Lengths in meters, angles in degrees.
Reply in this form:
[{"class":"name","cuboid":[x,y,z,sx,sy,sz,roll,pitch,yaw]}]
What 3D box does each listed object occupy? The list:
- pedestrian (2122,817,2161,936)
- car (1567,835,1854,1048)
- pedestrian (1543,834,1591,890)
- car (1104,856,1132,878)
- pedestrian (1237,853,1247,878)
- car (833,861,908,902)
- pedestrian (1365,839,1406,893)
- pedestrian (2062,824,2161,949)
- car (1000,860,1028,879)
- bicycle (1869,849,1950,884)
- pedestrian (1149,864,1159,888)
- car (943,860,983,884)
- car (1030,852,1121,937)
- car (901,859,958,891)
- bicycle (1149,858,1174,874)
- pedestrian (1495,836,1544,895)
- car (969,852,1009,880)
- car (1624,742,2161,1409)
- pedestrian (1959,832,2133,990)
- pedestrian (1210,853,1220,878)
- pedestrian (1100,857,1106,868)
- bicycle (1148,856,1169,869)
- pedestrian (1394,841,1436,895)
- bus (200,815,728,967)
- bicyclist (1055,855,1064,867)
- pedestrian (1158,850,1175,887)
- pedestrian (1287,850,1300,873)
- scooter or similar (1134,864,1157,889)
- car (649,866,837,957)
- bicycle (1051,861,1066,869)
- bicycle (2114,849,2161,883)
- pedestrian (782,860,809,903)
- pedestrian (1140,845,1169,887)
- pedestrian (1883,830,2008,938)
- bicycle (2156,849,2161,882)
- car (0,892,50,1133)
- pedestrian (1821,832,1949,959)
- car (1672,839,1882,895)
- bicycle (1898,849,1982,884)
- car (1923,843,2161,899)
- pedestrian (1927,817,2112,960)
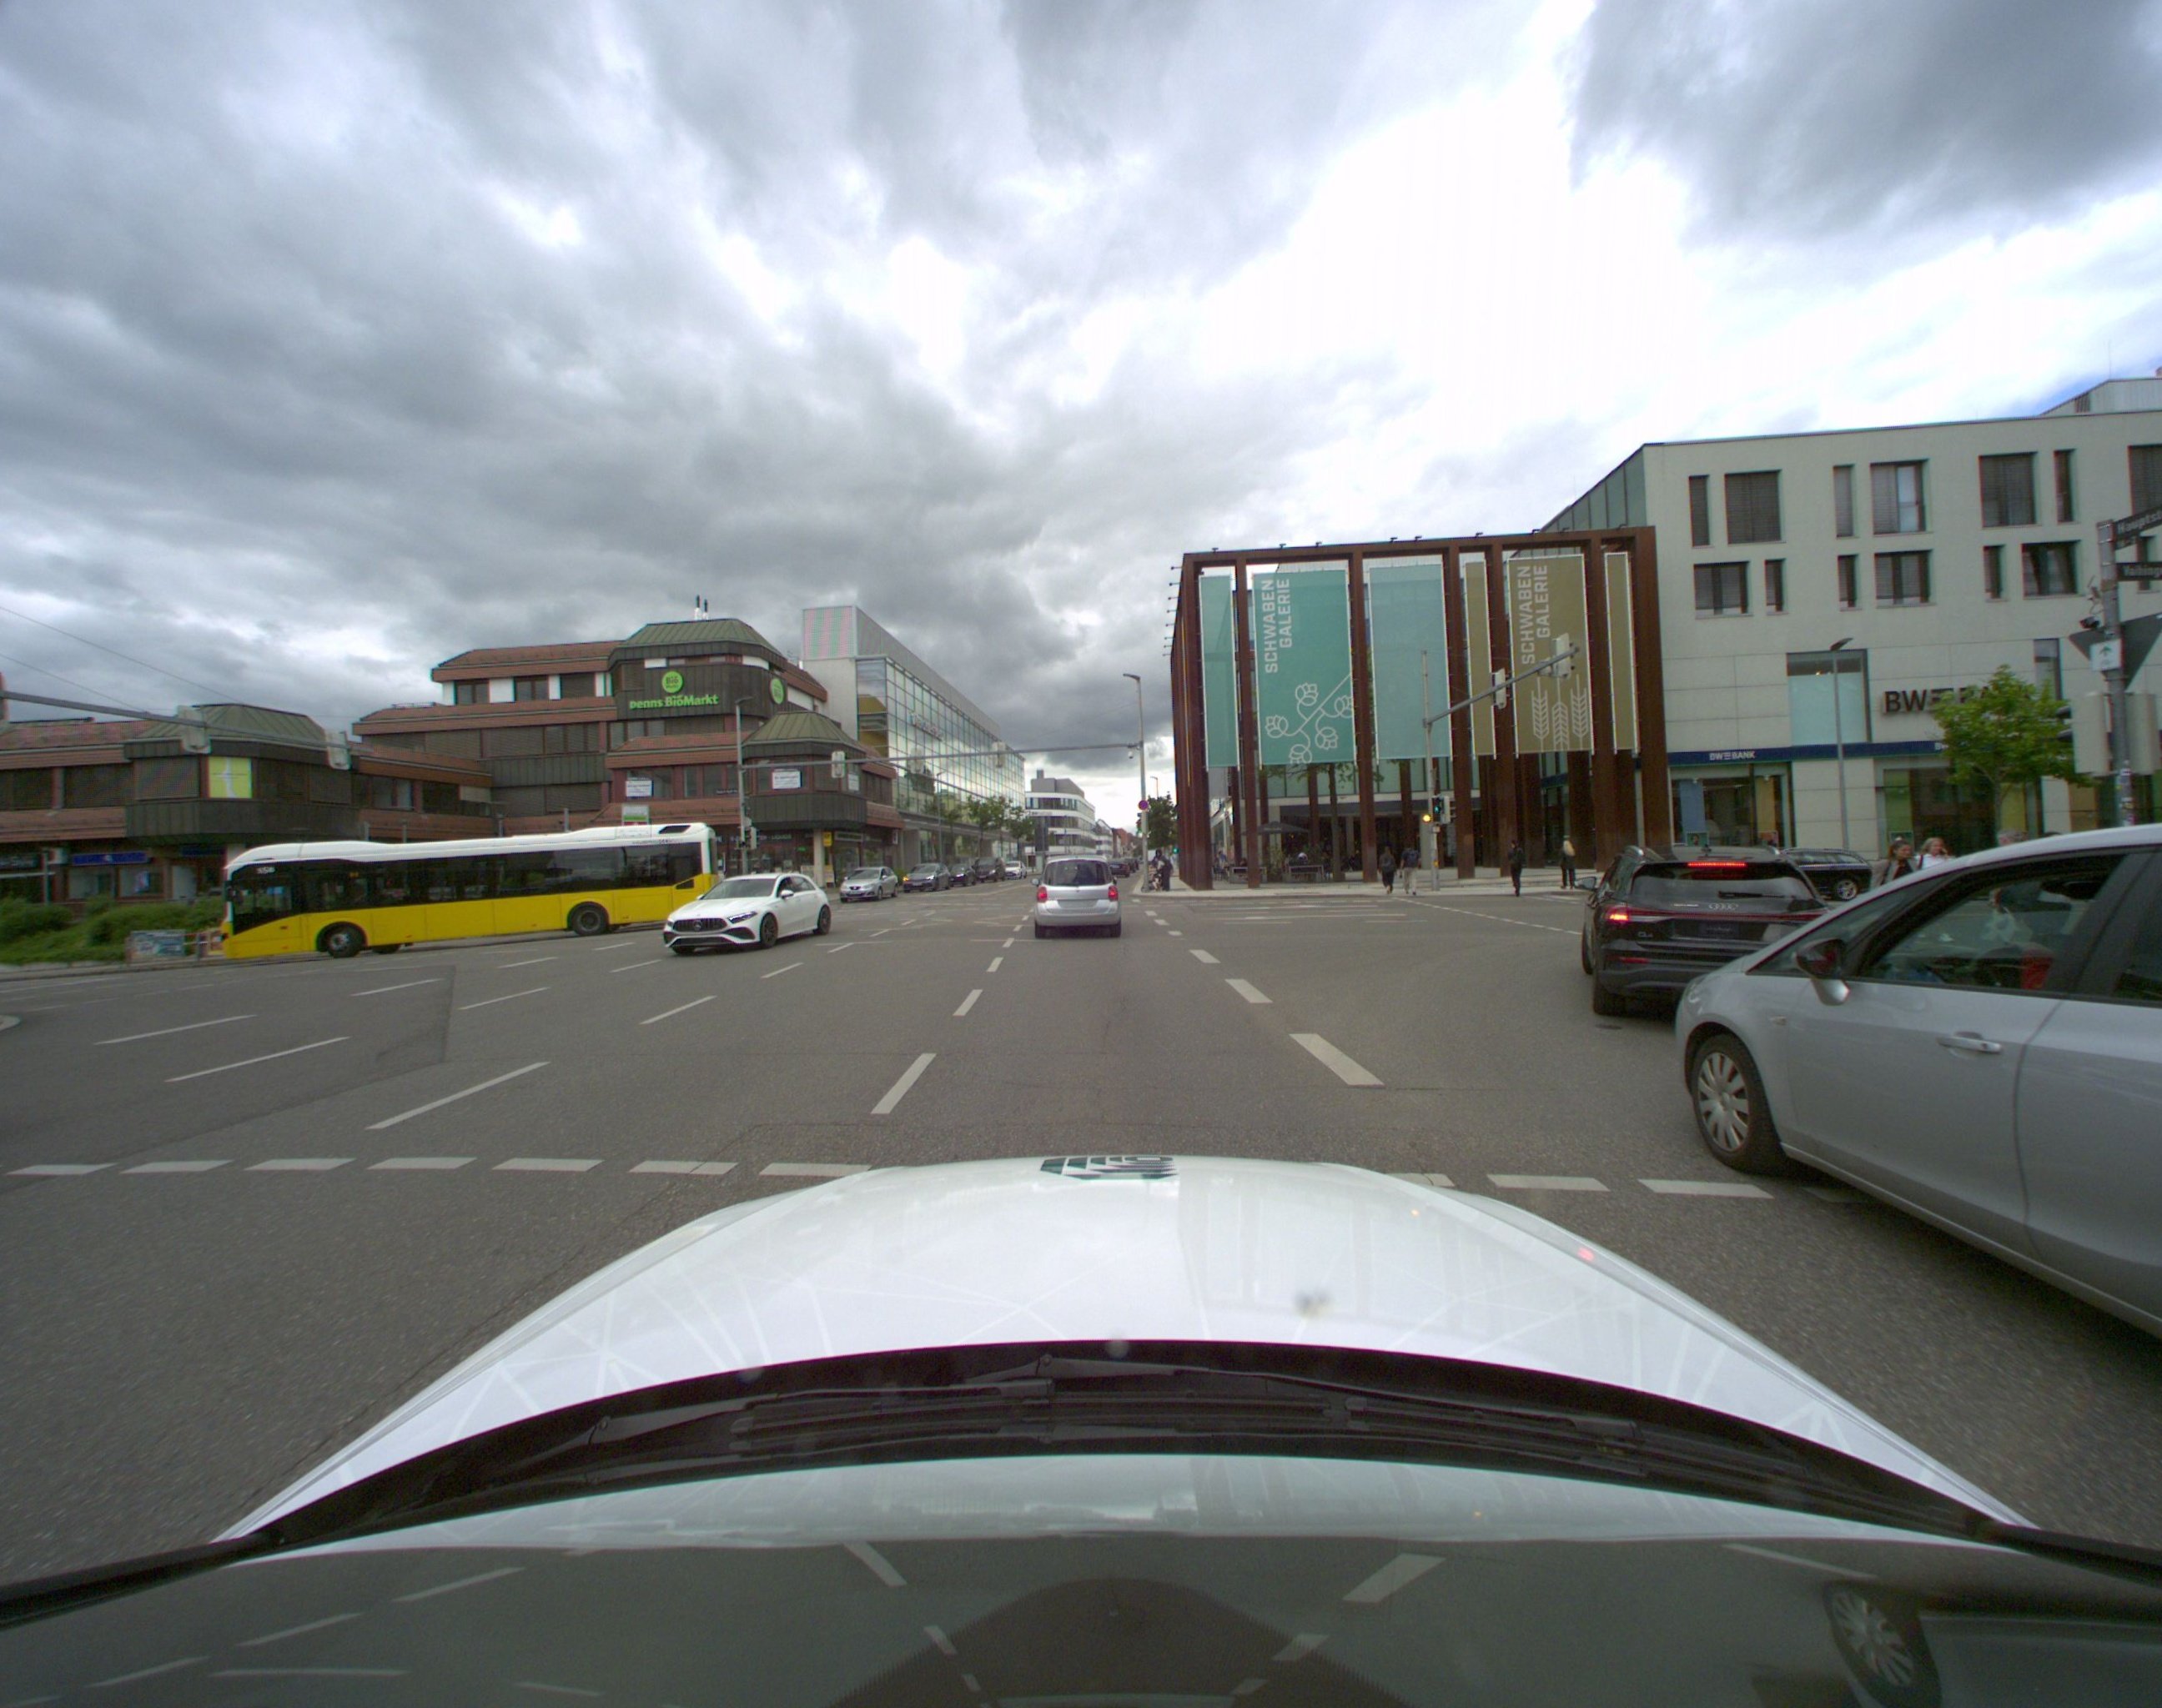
[{"class":"pedestrian","cuboid":[14.733,0.289,10.659,0.827,1.584,1.059,-2,0,0]},{"class":"car","cuboid":[6.277,0.649,8.704,1.833,1.609,4.892,0,0,31]},{"class":"pedestrian","cuboid":[15.915,0.266,26.689,0.875,1.767,1.121,-2,0,2]},{"class":"car","cuboid":[2.756,0.899,59.910,1.660,1.554,3.650,0,0,8]},{"class":"pedestrian","cuboid":[7.991,0.566,40.441,0.445,1.220,0.608,-2,-1,9]},{"class":"car","cuboid":[-9.059,1.139,35.427,1.626,1.418,4.208,-4,1,7]},{"class":"pedestrian","cuboid":[9.888,0.395,26.493,0.875,1.681,1.121,-2,0,2]},{"class":"pedestrian","cuboid":[13.817,0.394,10.621,0.827,1.558,0.969,-2,0,0]},{"class":"car","cuboid":[-5.616,1.261,68.887,1.652,1.465,4.006,-3,0,5]},{"class":"bicycle","cuboid":[27.274,0.403,26.844,0.715,1.102,1.995,-2,0,4]},{"class":"pedestrian","cuboid":[2.869,0.863,31.908,0.360,0.924,0.455,-2,0,7]},{"class":"car","cuboid":[-7.495,1.118,51.945,1.695,1.443,4.003,-2,0,3]},{"class":"car","cuboid":[-0.012,0.736,16.732,1.663,1.554,3.645,0,0,3]},{"class":"car","cuboid":[-8.210,1.089,44.528,1.749,1.517,4.395,-3,0,7]},{"class":"bicycle","cuboid":[5.377,0.812,54.247,1.552,0.992,0.754,-2,0,8]},{"class":"pedestrian","cuboid":[13.628,0.343,25.348,0.875,1.767,1.121,-2,0,2]},{"class":"car","cuboid":[-6.842,0.864,61.076,1.856,1.910,5.122,-3,0,6]},{"class":"car","cuboid":[3.702,0.565,2.509,1.729,1.701,4.392,0,0,9]},{"class":"pedestrian","cuboid":[10.635,0.598,9.015,0.738,1.626,0.954,-2,0,1]},{"class":"pedestrian","cuboid":[6.683,0.569,40.618,0.445,1.220,0.608,-2,-1,7]},{"class":"pedestrian","cuboid":[4.023,1.589,152.059,0.956,1.833,1.252,-2,0,5]},{"class":"bicycle","cuboid":[7.035,0.751,74.169,1.817,1.074,0.753,-3,-1,3]},{"class":"pedestrian","cuboid":[10.831,0.455,26.476,0.875,1.681,1.121,-2,0,2]},{"class":"bus","cuboid":[-17.710,0.909,24.872,12.308,3.327,2.977,-4,0,-20]},{"class":"bicyclist","cuboid":[-3.015,0.974,114.225,1.010,1.660,0.926,1,-1,-22]},{"class":"pedestrian","cuboid":[3.347,0.570,31.860,0.598,1.420,0.583,-2,0,7]},{"class":"pedestrian","cuboid":[11.603,0.409,44.472,0.513,1.208,0.796,-2,1,3]},{"class":"scooter or similar","cuboid":[2.546,0.893,32.297,0.627,0.961,0.624,-2,-1,38]},{"class":"car","cuboid":[-6.556,1.038,16.380,1.736,1.459,4.239,-3,0,3]},{"class":"bicycle","cuboid":[-3.161,1.558,114.579,1.010,1.018,3.107,1,-1,-22]},{"class":"bicycle","cuboid":[35.207,0.388,26.502,0.715,1.102,1.995,-2,0,4]},{"class":"pedestrian","cuboid":[-11.594,1.111,33.101,0.746,1.693,0.777,-2,0,0]},{"class":"pedestrian","cuboid":[2.967,0.487,32.789,0.861,1.646,0.684,-2,0,39]},{"class":"pedestrian","cuboid":[13.504,0.454,12.760,0.818,1.595,1.039,-2,0,1]},{"class":"bicycle","cuboid":[36.329,0.382,26.271,0.715,1.102,1.995,-2,0,4]},{"class":"car","cuboid":[-7.626,1.017,3.344,1.736,1.459,3.823,-3,0,5]},{"class":"pedestrian","cuboid":[10.899,0.544,11.077,0.738,1.626,0.954,-2,0,1]},{"class":"car","cuboid":[18.895,0.349,22.266,4.156,1.404,1.802,-1,0,2]},{"class":"bicycle","cuboid":[28.262,0.401,26.842,0.715,1.102,1.995,-2,0,4]},{"class":"car","cuboid":[26.408,0.460,22.421,4.517,1.404,1.801,-1,0,2]},{"class":"pedestrian","cuboid":[12.035,0.427,10.503,1.051,1.715,1.111,-2,0,4]}]
